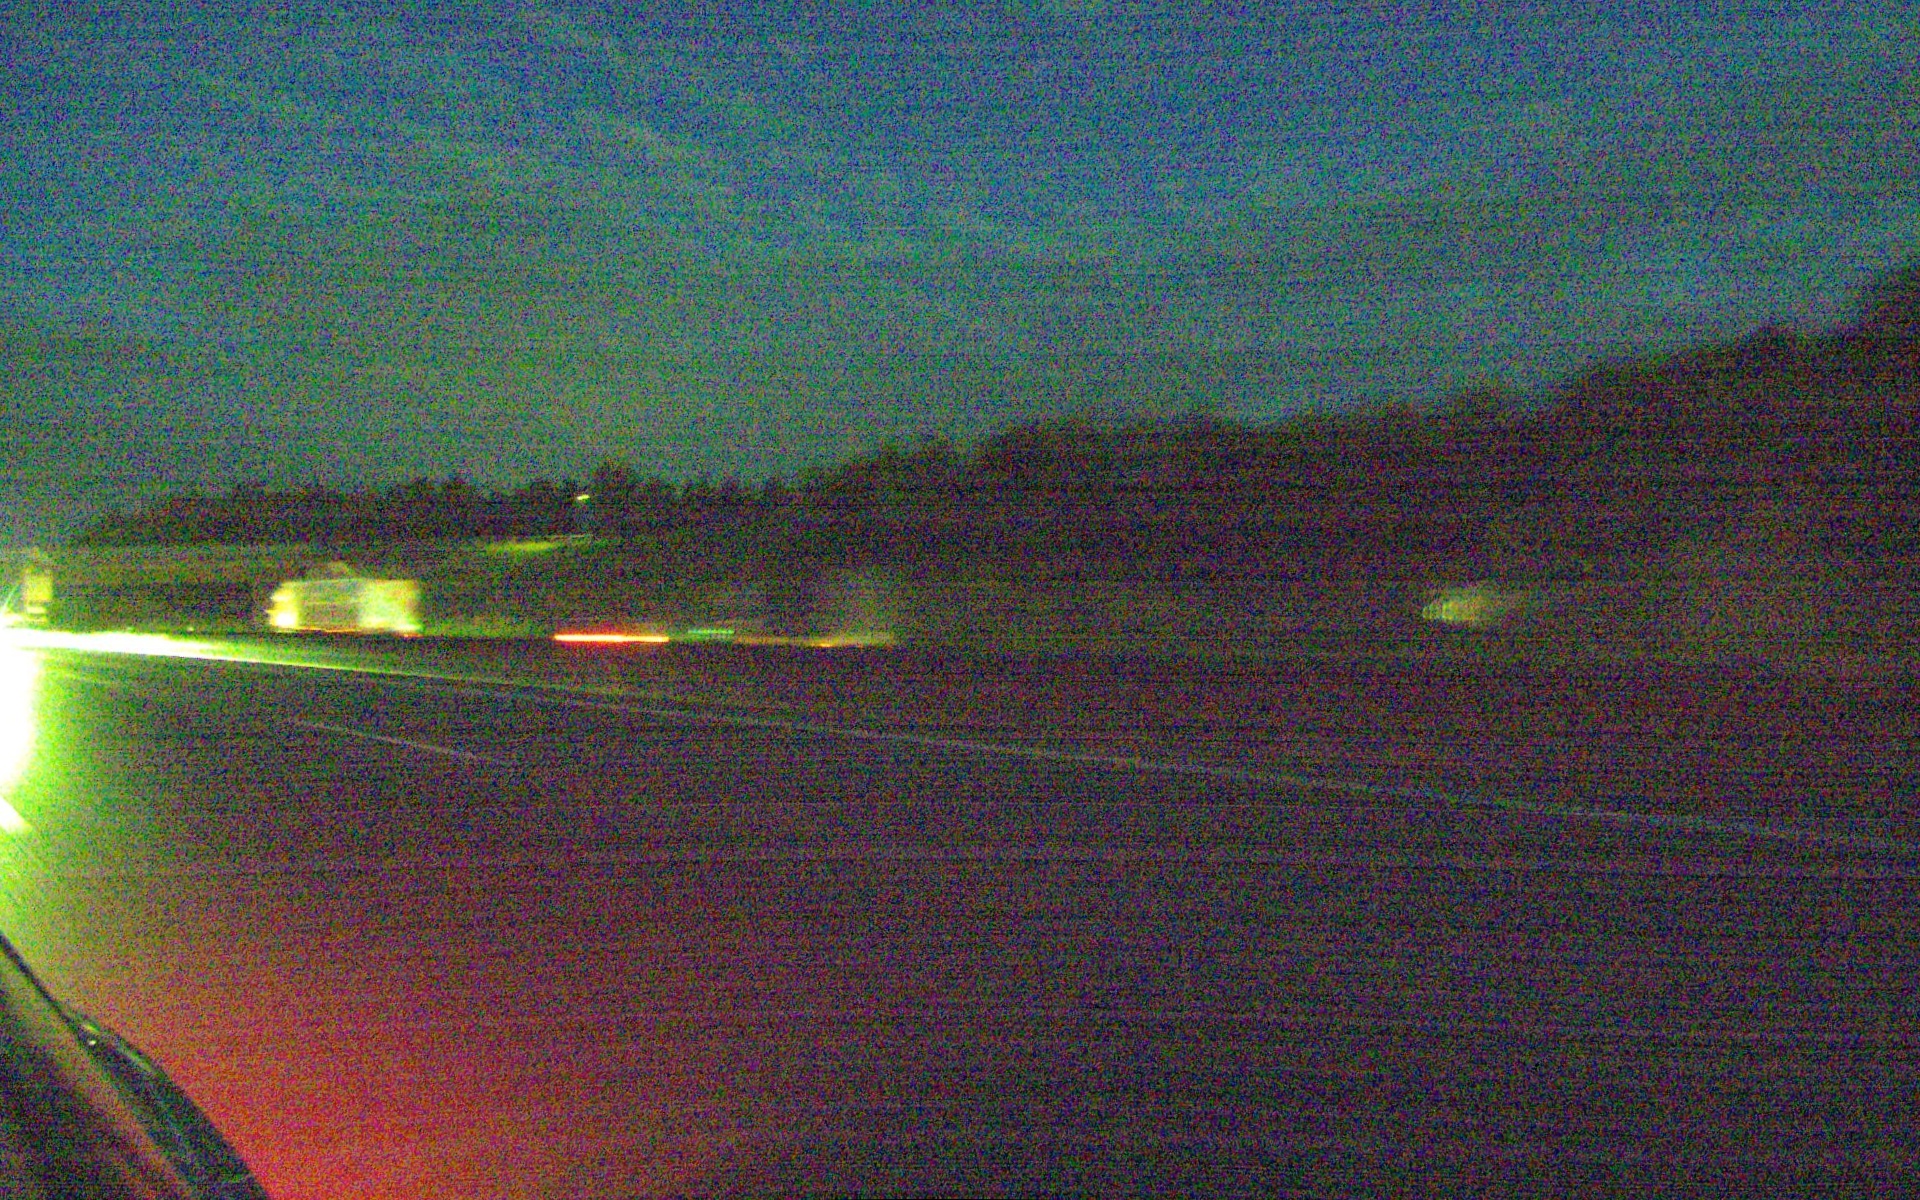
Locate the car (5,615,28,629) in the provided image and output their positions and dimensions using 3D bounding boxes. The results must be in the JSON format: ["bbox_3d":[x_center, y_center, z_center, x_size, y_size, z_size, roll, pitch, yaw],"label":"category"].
[{"bbox_3d":[-149.507,3.472,160.381,4.650,2.114,2.111,-1,-1,40],"label":"car"}]

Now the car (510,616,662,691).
[{"bbox_3d":[-10.919,1.478,29.391,4.738,1.970,2.174,-1,-1,41],"label":"car"}]

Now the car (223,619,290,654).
[{"bbox_3d":[-40.749,2.102,58.569,4.652,1.895,2.110,-1,-1,41],"label":"car"}]

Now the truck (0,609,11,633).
[{"bbox_3d":[-142.913,3.171,149.082,9.750,3.459,3.403,-1,-1,40],"label":"truck"}]

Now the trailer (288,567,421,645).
[{"bbox_3d":[-36.280,0.429,60.308,13.035,4.265,3.024,-1,-1,42],"label":"trailer"}]

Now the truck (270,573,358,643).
[{"bbox_3d":[-41.562,0.546,65.025,6.745,4.265,3.024,-1,-1,42],"label":"truck"}]

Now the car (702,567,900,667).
[{"bbox_3d":[-5.484,0.561,34.040,7.134,3.052,2.467,-1,-1,40],"label":"car"}]
